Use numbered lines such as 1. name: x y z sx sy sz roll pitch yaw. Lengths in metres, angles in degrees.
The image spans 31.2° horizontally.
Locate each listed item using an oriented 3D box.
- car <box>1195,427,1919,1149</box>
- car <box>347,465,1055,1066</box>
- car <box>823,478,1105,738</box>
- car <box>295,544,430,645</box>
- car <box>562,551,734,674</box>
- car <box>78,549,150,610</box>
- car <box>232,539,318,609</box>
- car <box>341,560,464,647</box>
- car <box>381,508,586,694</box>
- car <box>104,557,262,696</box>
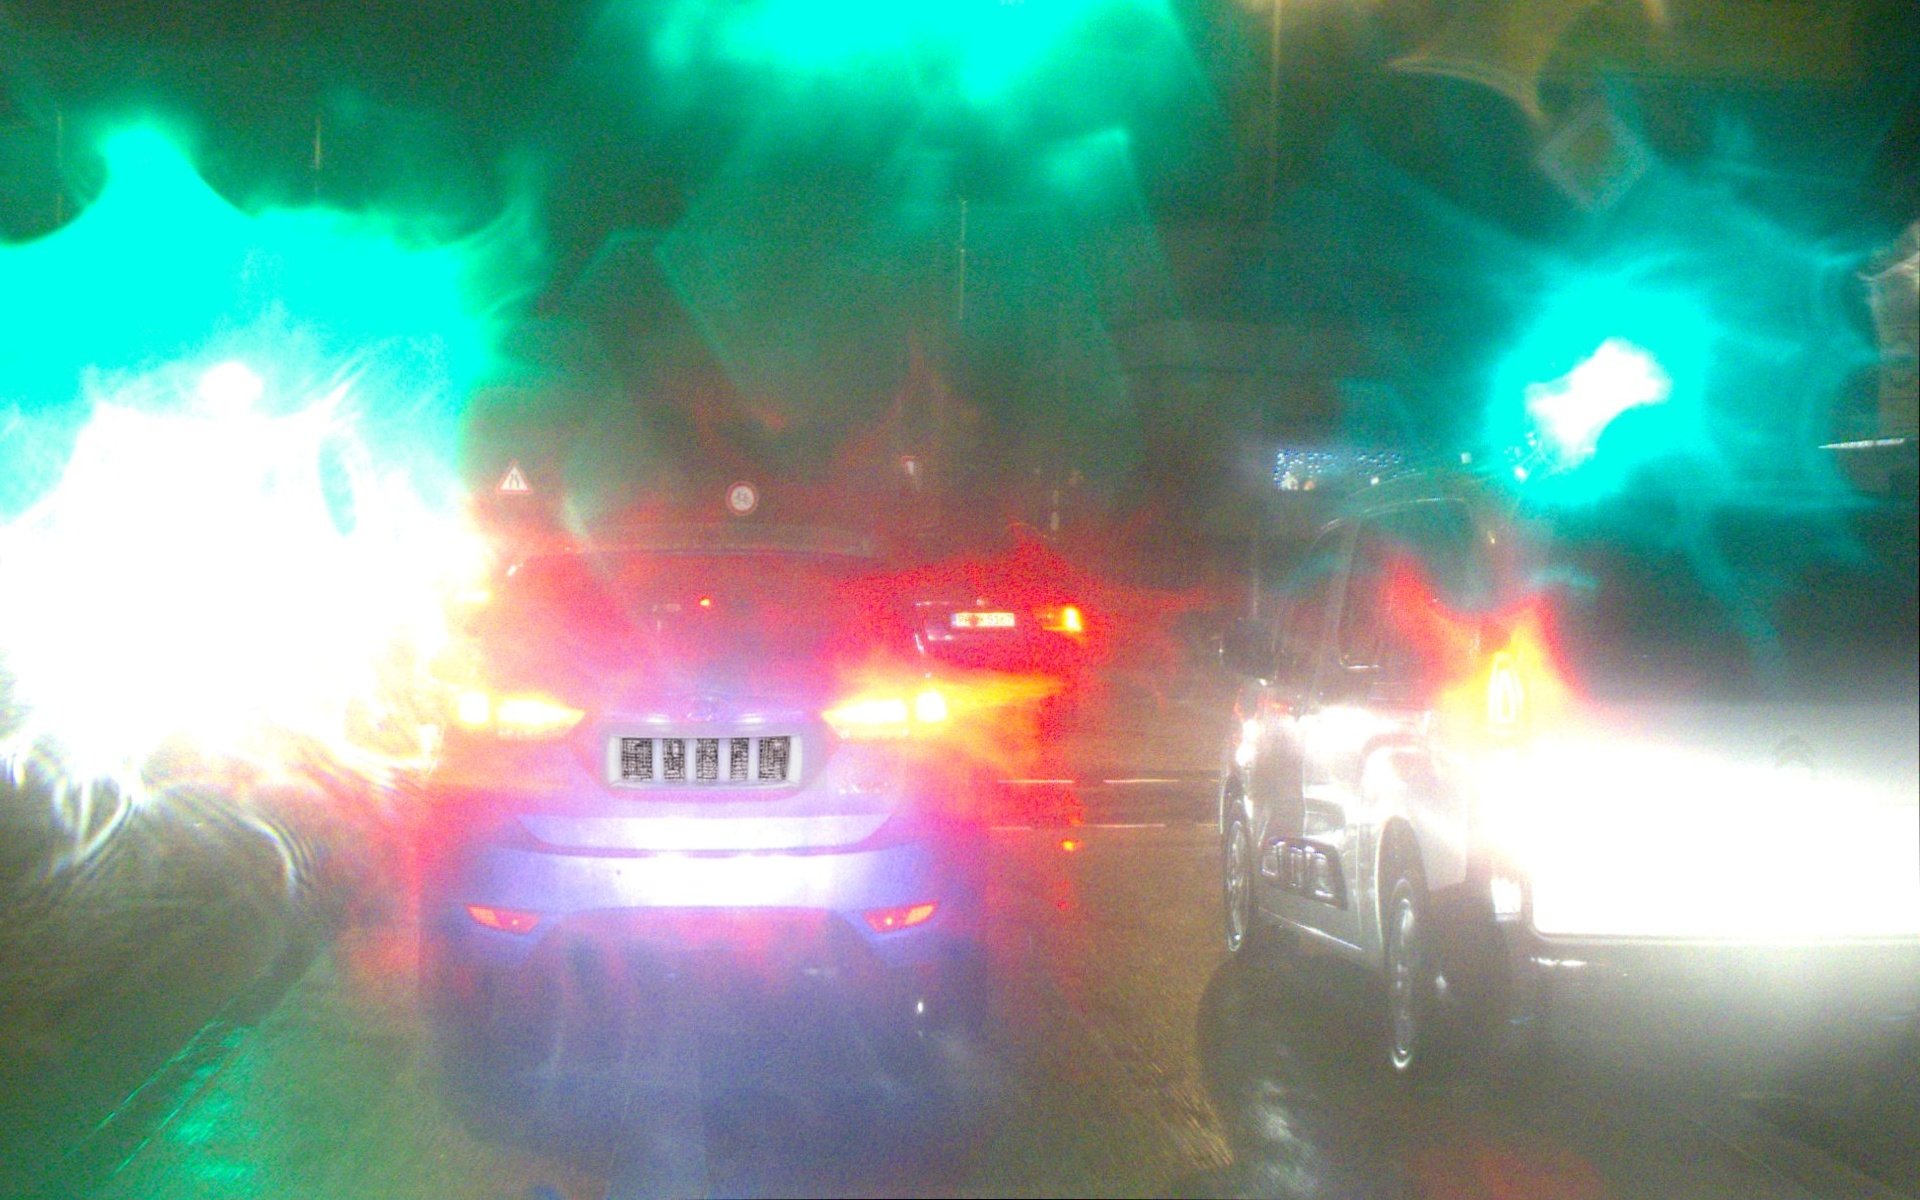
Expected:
1. car: 1.981 0.474 11.116 1.851 1.858 4.341 1 1 -4
2. car: -0.871 0.461 12.186 2.014 1.711 4.452 1 1 -3
3. car: -0.041 0.045 29.463 1.968 2.040 4.001 1 1 -6
4. car: -10.721 -0.125 61.514 1.993 1.726 4.001 1 1 -15
5. car: -4.614 0.153 50.381 1.993 1.712 4.001 1 1 -12
6. car: -26.212 -0.655 106.459 1.993 1.818 4.001 1 1 -16
7. car: -18.449 -0.722 92.533 1.993 1.814 4.001 1 1 -15
8. car: -11.284 0.058 69.448 1.993 1.664 4.001 1 1 -16
9. car: -5.524 -0.012 39.501 1.993 2.007 4.001 1 1 -12
10. car: -11.546 0.356 50.922 2.014 1.880 4.453 1 1 -16
